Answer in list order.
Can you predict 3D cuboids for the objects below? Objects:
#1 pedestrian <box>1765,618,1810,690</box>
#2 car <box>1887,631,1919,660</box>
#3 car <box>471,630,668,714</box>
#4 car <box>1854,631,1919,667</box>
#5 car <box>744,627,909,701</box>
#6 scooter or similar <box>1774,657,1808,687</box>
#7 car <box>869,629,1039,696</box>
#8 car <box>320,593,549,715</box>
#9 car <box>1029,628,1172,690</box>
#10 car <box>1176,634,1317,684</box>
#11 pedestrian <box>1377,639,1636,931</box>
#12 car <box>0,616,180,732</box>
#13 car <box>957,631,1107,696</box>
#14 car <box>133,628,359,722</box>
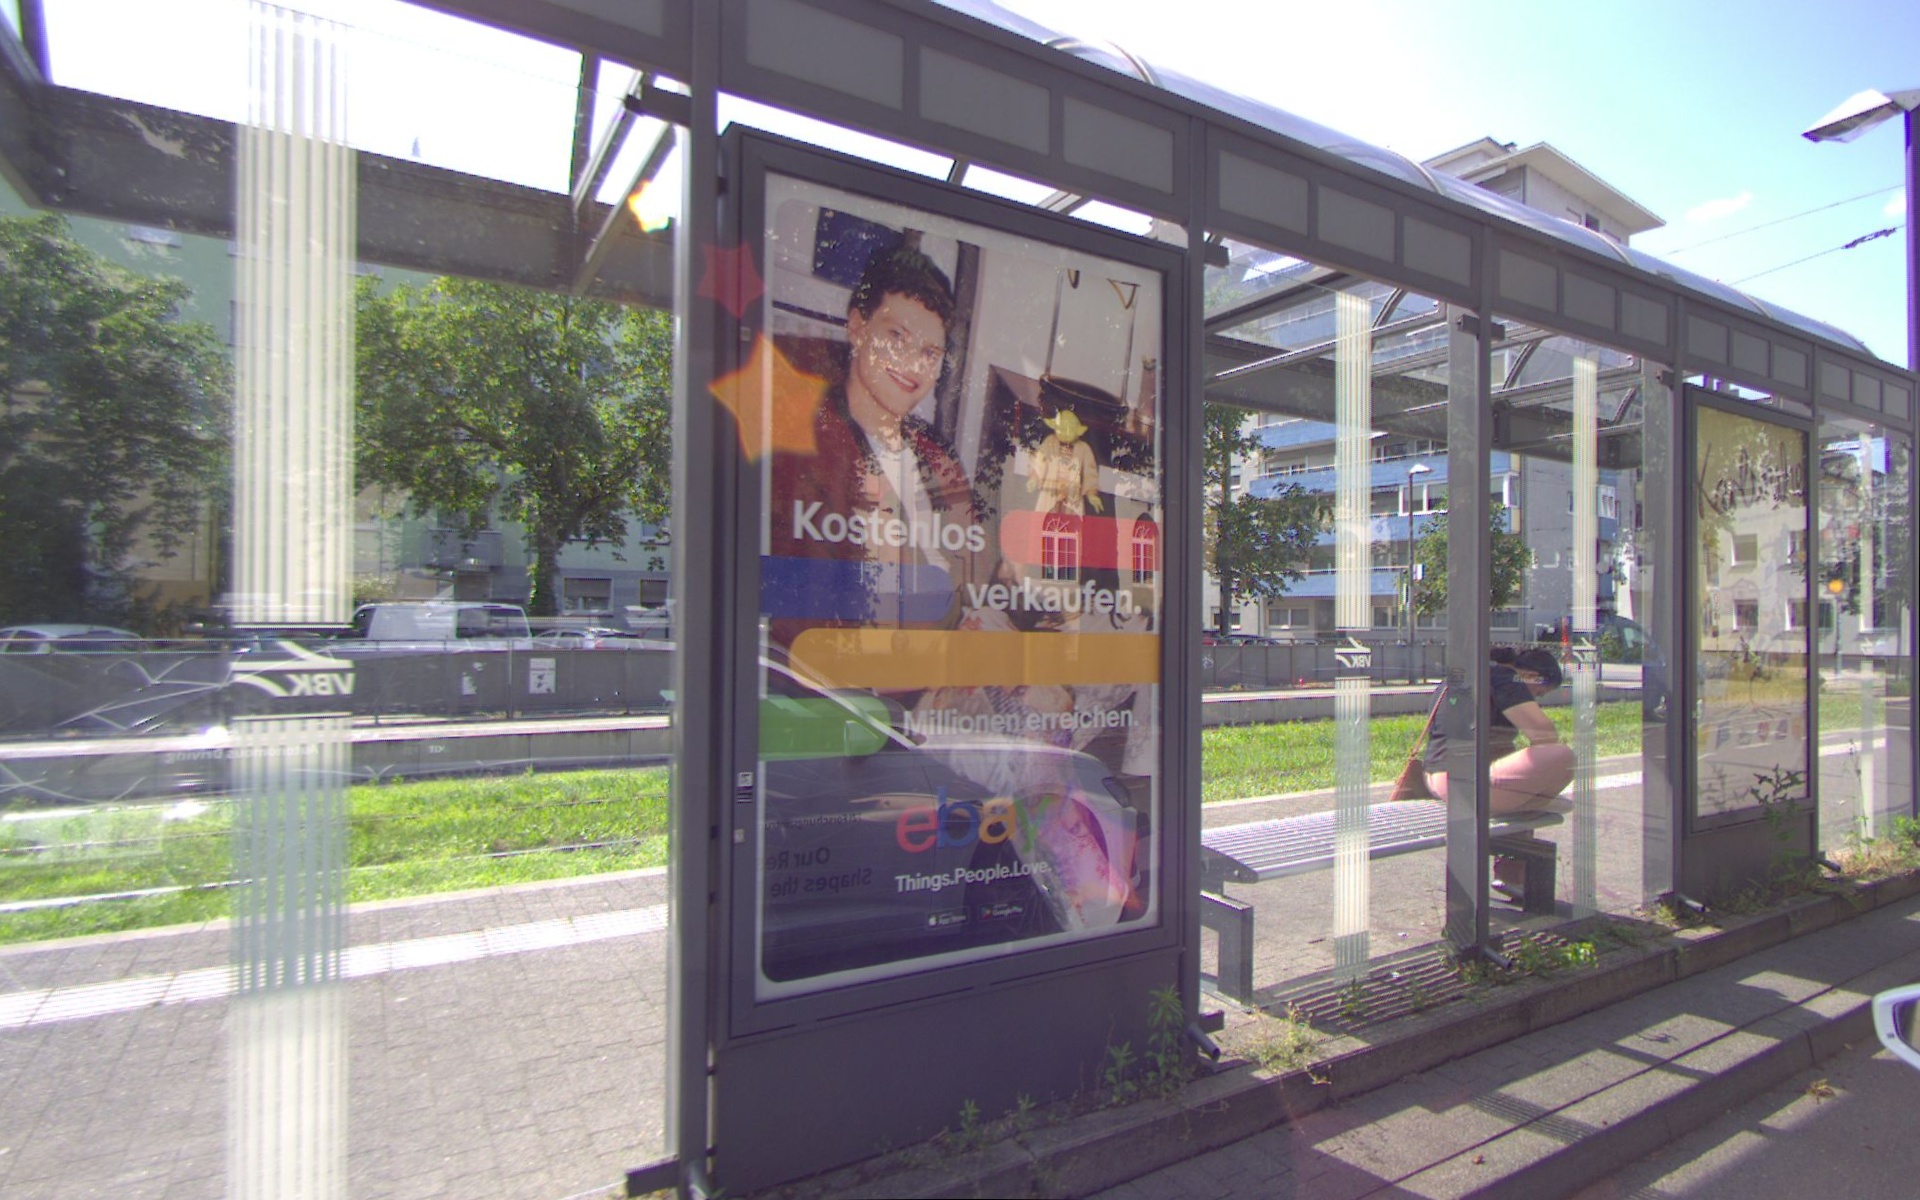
[{"bbox_3d":[19.906,1.286,24.165,0.625,1.686,0.656,1,-2,-32],"label":"pedestrian"},{"bbox_3d":[51.886,2.472,54.312,3.960,1.461,1.756,2,0,-35],"label":"car"},{"bbox_3d":[-8.182,1.433,21.021,3.879,1.600,1.717,0,-1,28],"label":"car"},{"bbox_3d":[47.092,2.467,50.755,3.960,1.667,1.980,2,0,-35],"label":"car"},{"bbox_3d":[-3.174,1.453,23.737,3.600,1.600,1.646,0,-1,29],"label":"car"},{"bbox_3d":[20.327,1.749,24.567,0.693,0.708,0.440,1,-2,-32],"label":"scooter or similar"},{"bbox_3d":[-0.172,1.508,25.021,3.956,1.534,1.607,-1,-2,30],"label":"car"},{"bbox_3d":[-10.015,0.970,19.140,3.880,2.097,2.047,0,-1,28],"label":"car"},{"bbox_3d":[3.907,1.590,28.005,3.600,1.600,1.646,0,-1,29],"label":"car"},{"bbox_3d":[8.774,1.769,30.748,4.053,1.412,1.609,0,-2,21],"label":"car"},{"bbox_3d":[2.207,0.711,4.139,0.709,1.086,0.664,-1,-1,4],"label":"pedestrian"},{"bbox_3d":[-14.908,1.111,16.321,3.923,1.662,1.826,0,0,23],"label":"car"},{"bbox_3d":[1.900,1.627,26.575,3.600,1.600,1.646,0,-1,29],"label":"car"},{"bbox_3d":[-12.777,1.260,17.953,3.925,1.505,1.608,0,-1,26],"label":"car"}]
